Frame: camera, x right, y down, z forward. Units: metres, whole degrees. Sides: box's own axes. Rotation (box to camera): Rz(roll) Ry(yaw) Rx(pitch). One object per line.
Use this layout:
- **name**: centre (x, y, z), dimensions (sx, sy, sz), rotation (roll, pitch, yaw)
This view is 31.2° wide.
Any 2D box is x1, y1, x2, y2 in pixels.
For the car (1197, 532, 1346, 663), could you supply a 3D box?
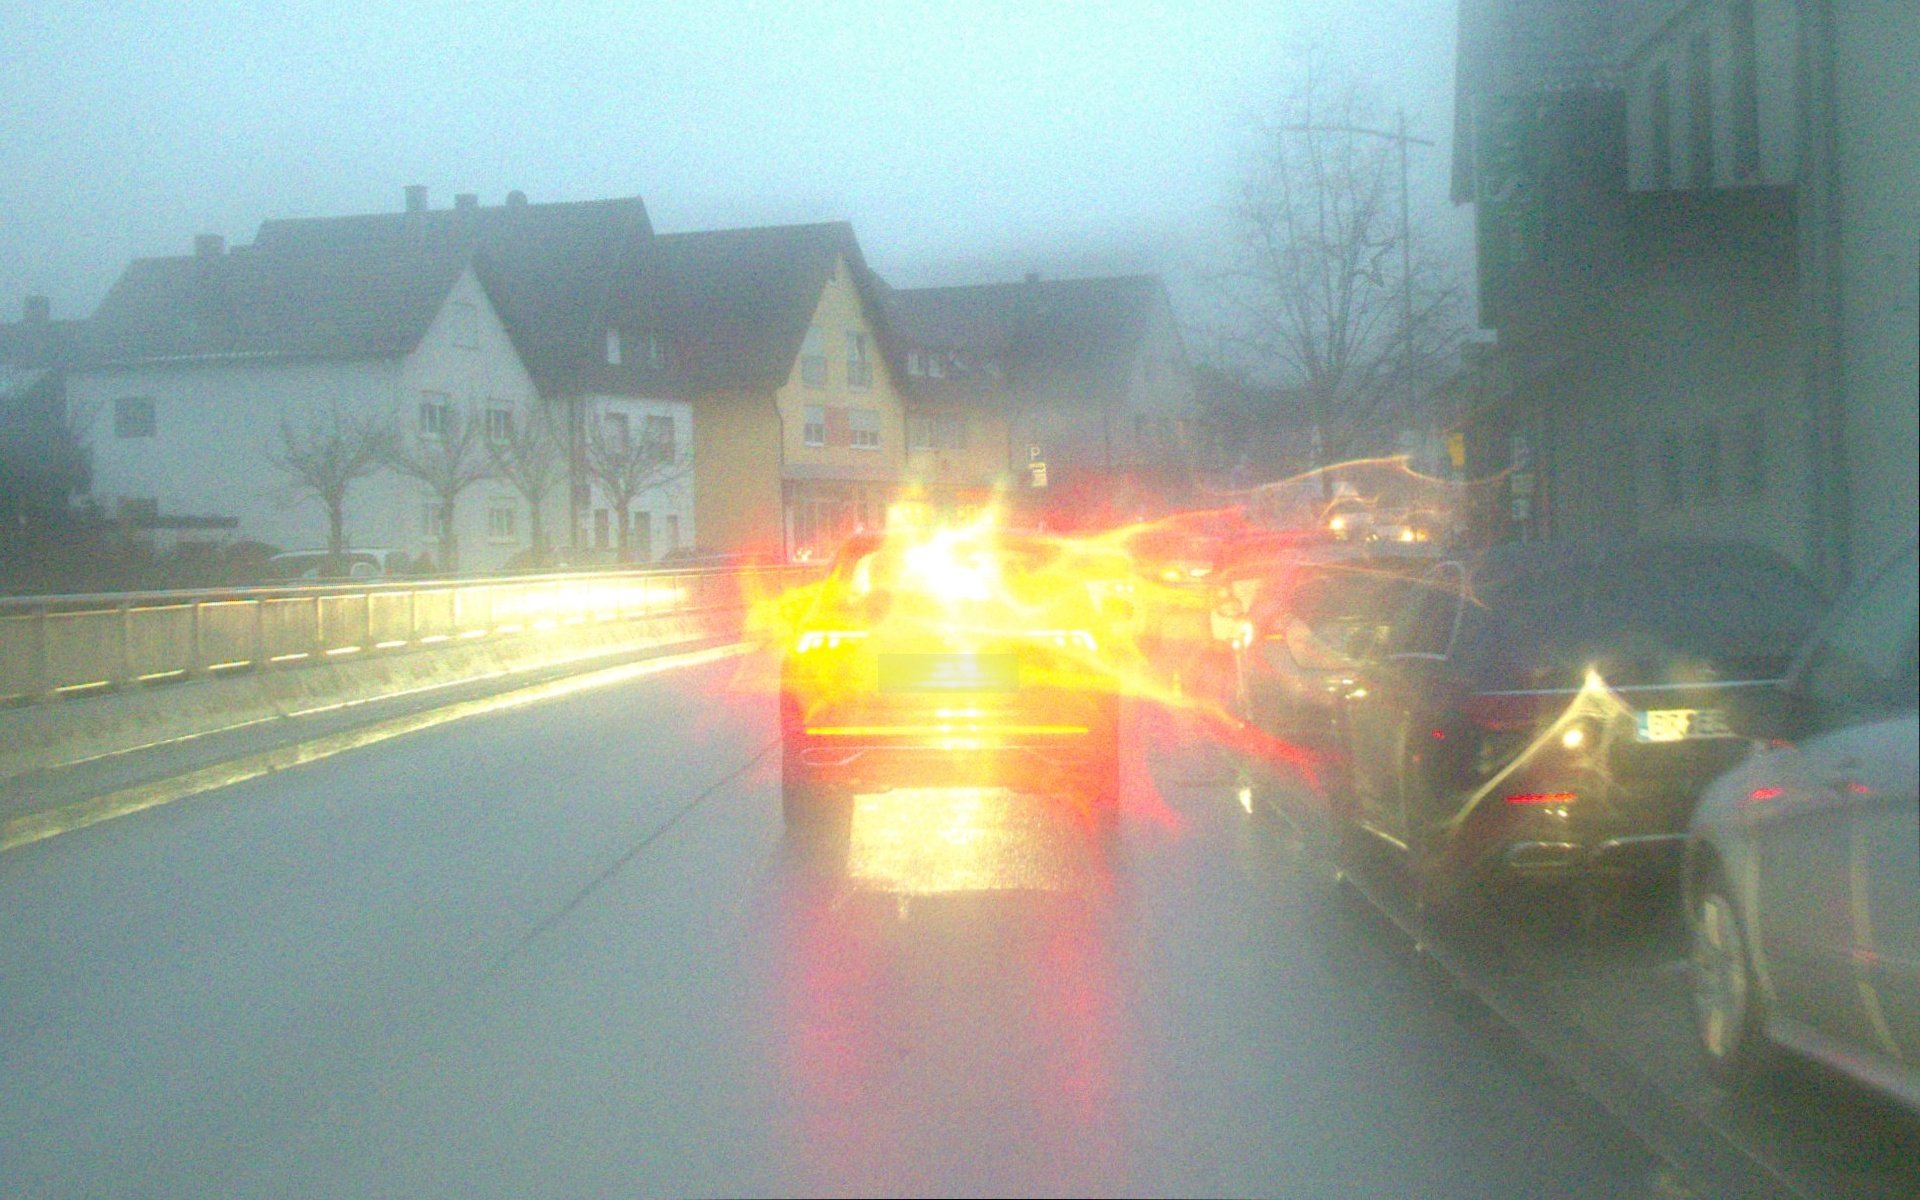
- **car**: centre (3.753, -0.054, 41.615), dimensions (1.645, 1.410, 2.727), rotation (-4, 1, 5)

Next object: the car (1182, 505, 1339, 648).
- **car**: centre (4.181, -0.364, 47.407), dimensions (1.770, 1.776, 3.999), rotation (-4, 1, 9)

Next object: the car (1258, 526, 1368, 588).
- **car**: centre (8.556, -1.053, 83.132), dimensions (1.995, 1.387, 3.998), rotation (-1, 2, 15)

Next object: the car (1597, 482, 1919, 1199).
- **car**: centre (2.776, 0.505, 7.987), dimensions (1.664, 1.570, 4.497), rotation (-2, 1, -1)

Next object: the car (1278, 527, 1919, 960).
- **car**: centre (2.629, 0.472, 14.853), dimensions (1.956, 1.527, 5.009), rotation (1, 1, -1)

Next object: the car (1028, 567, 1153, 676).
- **car**: centre (1.841, 0.266, 48.126), dimensions (1.682, 1.448, 4.000), rotation (0, 1, 3)

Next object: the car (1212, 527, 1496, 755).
- **car**: centre (2.837, 0.243, 25.538), dimensions (1.652, 1.450, 4.238), rotation (-4, 1, 2)

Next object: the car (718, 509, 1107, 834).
- **car**: centre (-0.335, 0.303, 19.605), dimensions (1.964, 1.589, 4.314), rotation (0, 2, -3)

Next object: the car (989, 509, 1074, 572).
- **car**: centre (2.270, -1.913, 110.133), dimensions (2.037, 1.919, 4.058), rotation (-2, 2, -8)

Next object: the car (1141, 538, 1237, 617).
- **car**: centre (4.533, -0.463, 67.797), dimensions (1.814, 1.407, 4.000), rotation (0, 2, 4)
